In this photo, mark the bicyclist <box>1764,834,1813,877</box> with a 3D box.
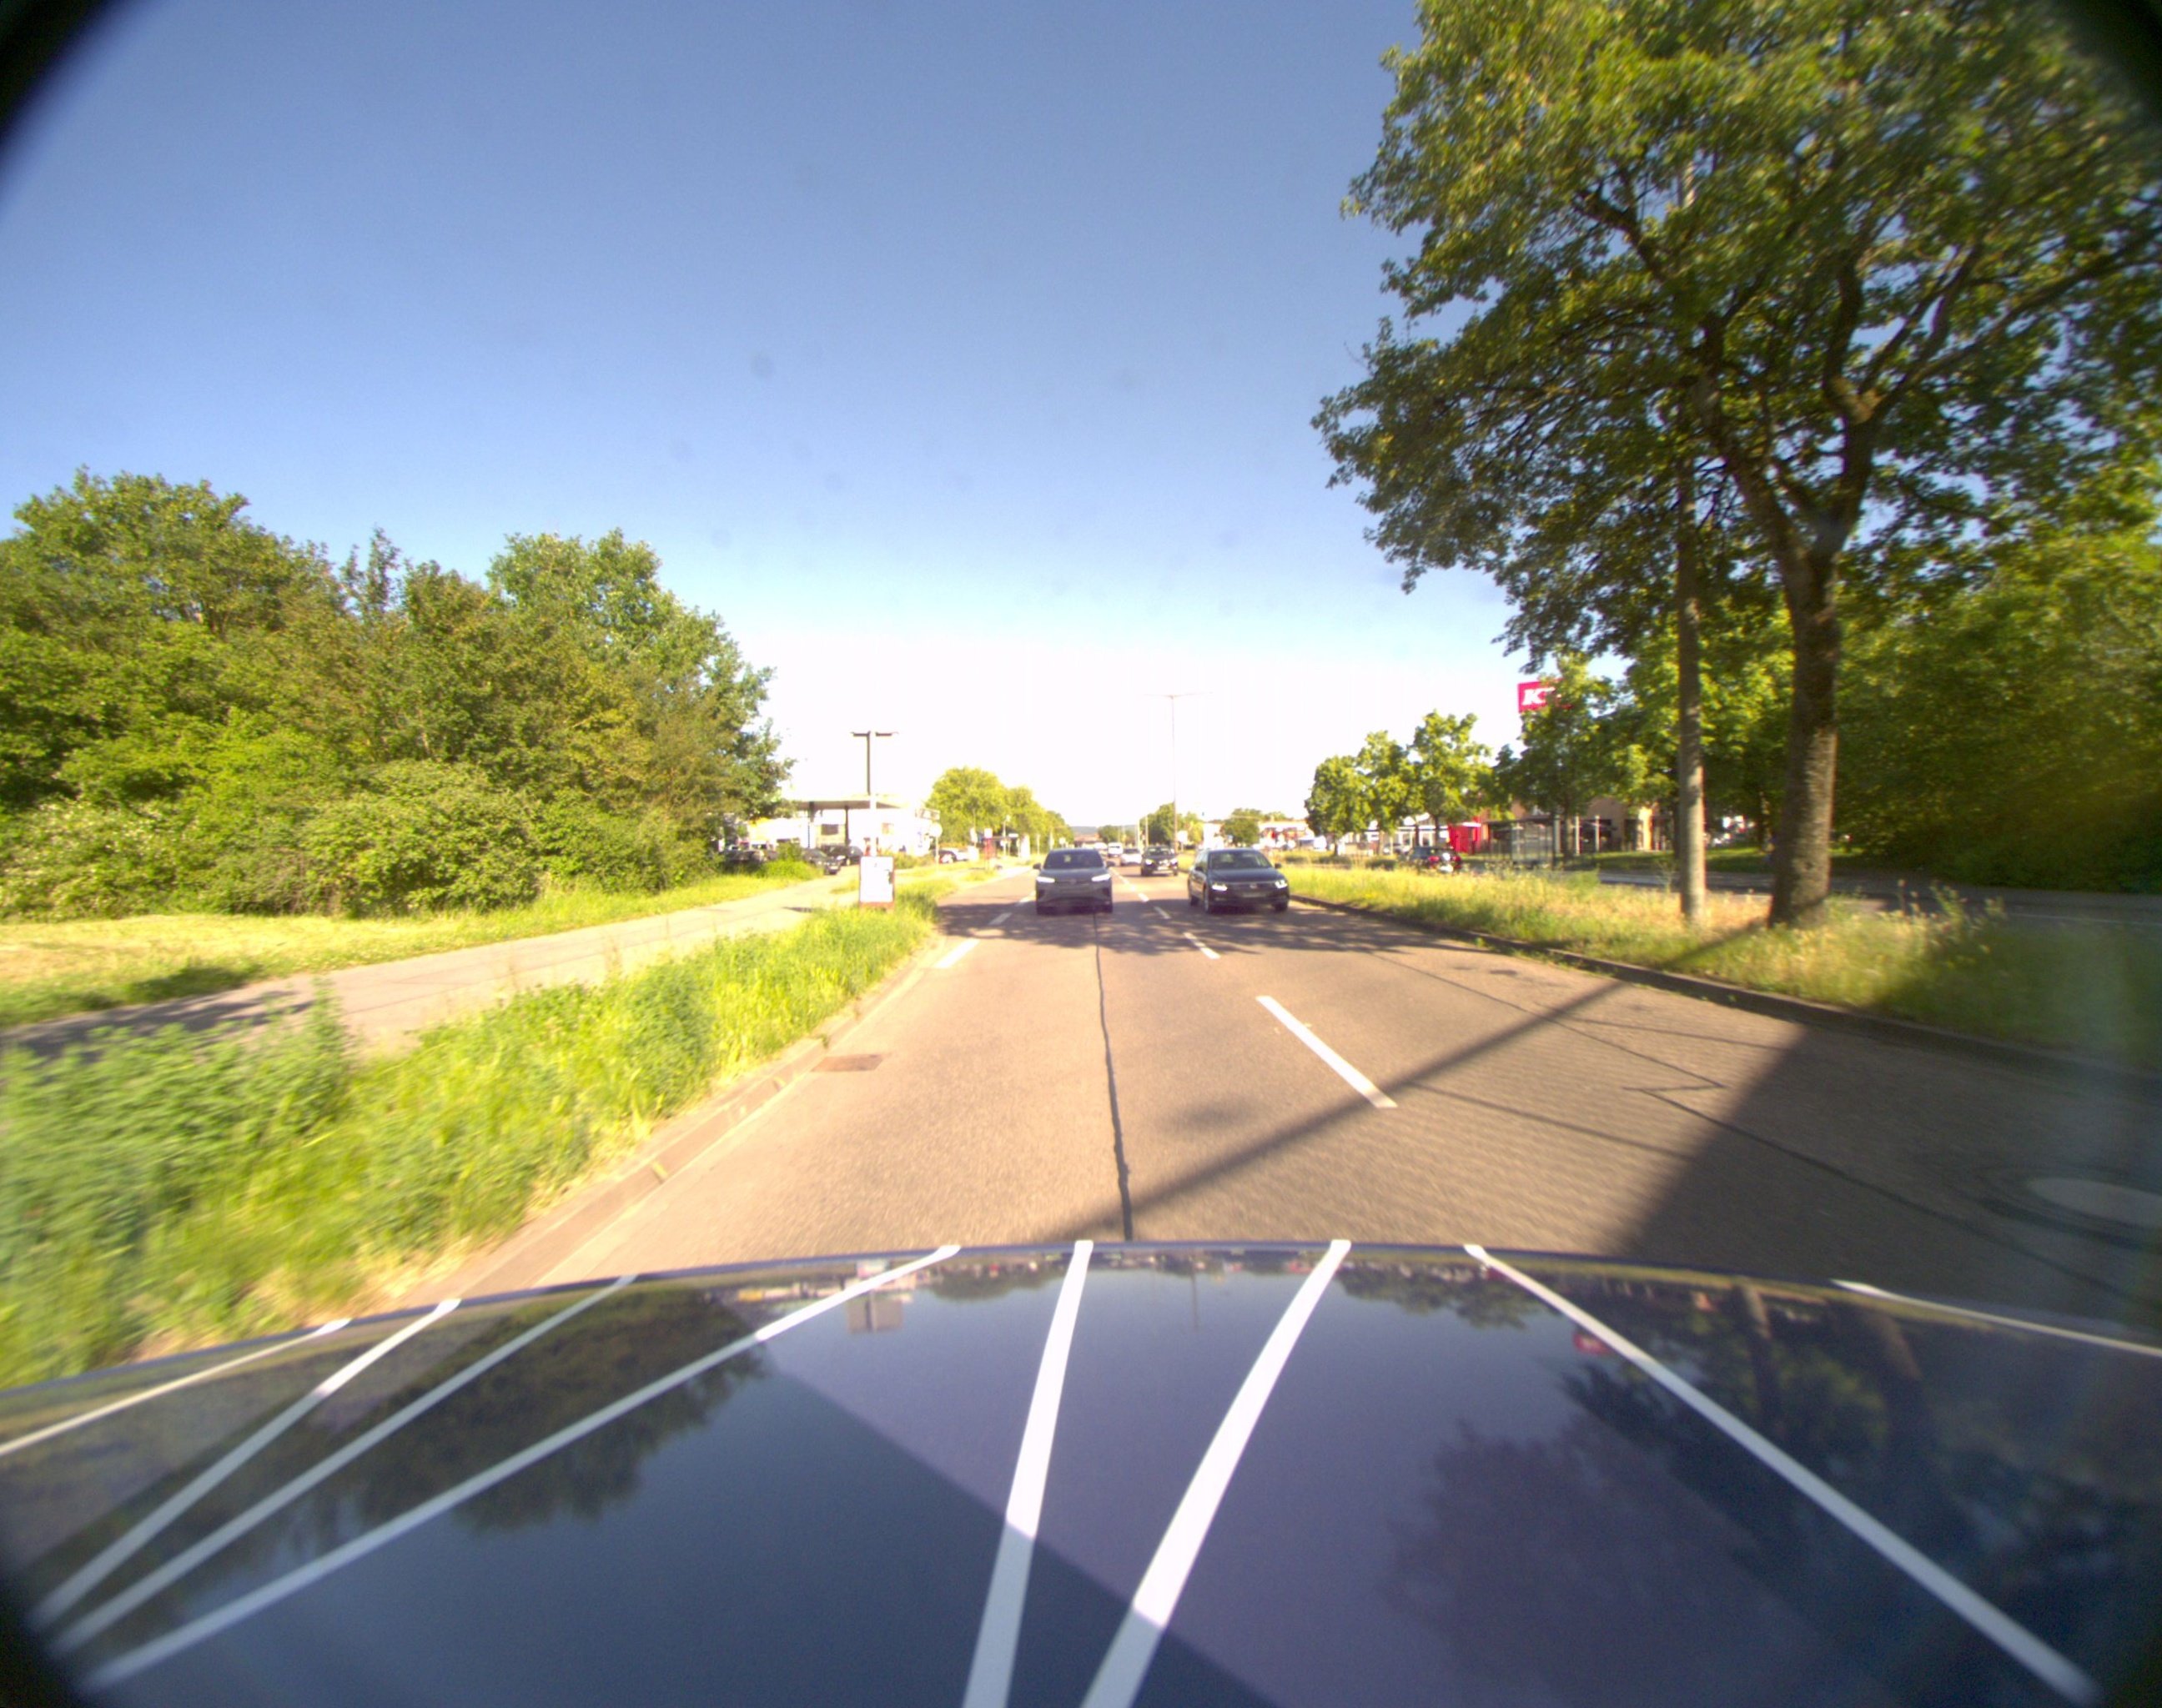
[{"bbox_3d":[23.764,0.053,25.532,0.682,1.394,1.026,-3,1,1],"label":"bicyclist"}]

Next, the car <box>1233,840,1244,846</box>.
[{"bbox_3d":[40.734,-2.880,196.485,1.762,1.604,4.119,0,1,-1],"label":"car"}]

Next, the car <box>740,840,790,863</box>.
[{"bbox_3d":[-29.598,-0.242,71.260,3.700,1.896,1.924,-3,1,1],"label":"car"}]

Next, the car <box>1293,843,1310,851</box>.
[{"bbox_3d":[39.016,-1.276,134.443,1.900,1.317,4.119,0,1,-1],"label":"car"}]

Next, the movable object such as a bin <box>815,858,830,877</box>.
[{"bbox_3d":[-14.357,0.756,42.217,0.583,1.068,0.508,-2,1,-41],"label":"movable object such as a bin"}]

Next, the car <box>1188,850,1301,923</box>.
[{"bbox_3d":[3.760,0.677,18.184,1.848,1.445,4.265,-2,1,1],"label":"car"}]

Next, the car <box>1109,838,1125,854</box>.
[{"bbox_3d":[5.316,-1.149,112.811,2.089,2.230,3.999,-3,1,1],"label":"car"}]

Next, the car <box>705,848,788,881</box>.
[{"bbox_3d":[-16.651,0.501,37.910,3.292,1.477,1.772,-3,1,2],"label":"car"}]

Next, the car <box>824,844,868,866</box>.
[{"bbox_3d":[-17.148,0.038,55.724,1.748,1.564,4.248,-1,1,2],"label":"car"}]

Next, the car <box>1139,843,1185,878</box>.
[{"bbox_3d":[4.323,0.301,41.057,1.998,1.674,4.695,-3,1,1],"label":"car"}]

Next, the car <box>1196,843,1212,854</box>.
[{"bbox_3d":[17.611,-0.775,108.768,1.645,1.442,4.111,1,1,1],"label":"car"}]

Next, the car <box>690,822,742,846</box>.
[{"bbox_3d":[-27.350,-1.459,57.032,1.923,1.745,3.777,0,1,2],"label":"car"}]

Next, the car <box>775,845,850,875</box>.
[{"bbox_3d":[-16.336,0.329,46.192,4.547,1.630,1.805,2,1,30],"label":"car"}]

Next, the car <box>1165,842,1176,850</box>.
[{"bbox_3d":[18.562,-1.665,157.869,1.998,1.674,4.176,0,1,1],"label":"car"}]

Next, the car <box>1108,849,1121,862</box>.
[{"bbox_3d":[5.605,0.304,126.800,1.998,2.002,3.999,-3,1,1],"label":"car"}]

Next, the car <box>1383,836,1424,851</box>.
[{"bbox_3d":[39.833,-1.317,93.898,1.899,1.652,4.122,-4,1,-42],"label":"car"}]

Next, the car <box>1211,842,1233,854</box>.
[{"bbox_3d":[16.854,-0.774,91.264,1.822,1.427,4.630,1,1,1],"label":"car"}]

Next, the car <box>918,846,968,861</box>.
[{"bbox_3d":[-14.358,-0.027,79.306,1.895,1.522,4.846,2,1,44],"label":"car"}]

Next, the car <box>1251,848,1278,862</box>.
[{"bbox_3d":[20.714,0.109,85.863,1.919,1.446,4.489,1,1,0],"label":"car"}]

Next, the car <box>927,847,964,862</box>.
[{"bbox_3d":[-14.882,0.044,83.455,3.614,1.283,1.841,6,2,2],"label":"car"}]

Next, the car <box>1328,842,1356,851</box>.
[{"bbox_3d":[44.278,-1.260,129.031,4.116,1.424,1.901,0,1,1],"label":"car"}]

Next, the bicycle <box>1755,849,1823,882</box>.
[{"bbox_3d":[23.780,0.372,25.549,0.685,1.024,1.714,-3,1,1],"label":"bicycle"}]

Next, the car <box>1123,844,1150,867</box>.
[{"bbox_3d":[4.618,0.097,63.918,1.998,1.779,4.270,-3,1,1],"label":"car"}]

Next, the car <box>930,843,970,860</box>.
[{"bbox_3d":[-14.888,-0.279,86.369,3.924,1.444,1.726,6,2,12],"label":"car"}]

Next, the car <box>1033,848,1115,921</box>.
[{"bbox_3d":[-0.112,0.699,19.747,1.848,1.615,4.265,-2,1,1],"label":"car"}]

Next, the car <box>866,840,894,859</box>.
[{"bbox_3d":[-21.423,-0.475,81.127,1.898,1.850,4.215,2,1,-1],"label":"car"}]

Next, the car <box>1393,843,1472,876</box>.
[{"bbox_3d":[16.333,0.214,35.503,1.821,1.434,4.089,-1,1,1],"label":"car"}]

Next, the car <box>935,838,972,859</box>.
[{"bbox_3d":[-14.975,-0.619,89.354,3.986,2.002,1.690,7,1,33],"label":"car"}]

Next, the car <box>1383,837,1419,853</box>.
[{"bbox_3d":[41.554,-1.186,98.716,1.850,1.840,3.820,-4,1,-39],"label":"car"}]

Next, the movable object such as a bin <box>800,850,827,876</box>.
[{"bbox_3d":[-15.368,0.518,43.617,0.991,1.420,1.257,-2,1,-42],"label":"movable object such as a bin"}]
